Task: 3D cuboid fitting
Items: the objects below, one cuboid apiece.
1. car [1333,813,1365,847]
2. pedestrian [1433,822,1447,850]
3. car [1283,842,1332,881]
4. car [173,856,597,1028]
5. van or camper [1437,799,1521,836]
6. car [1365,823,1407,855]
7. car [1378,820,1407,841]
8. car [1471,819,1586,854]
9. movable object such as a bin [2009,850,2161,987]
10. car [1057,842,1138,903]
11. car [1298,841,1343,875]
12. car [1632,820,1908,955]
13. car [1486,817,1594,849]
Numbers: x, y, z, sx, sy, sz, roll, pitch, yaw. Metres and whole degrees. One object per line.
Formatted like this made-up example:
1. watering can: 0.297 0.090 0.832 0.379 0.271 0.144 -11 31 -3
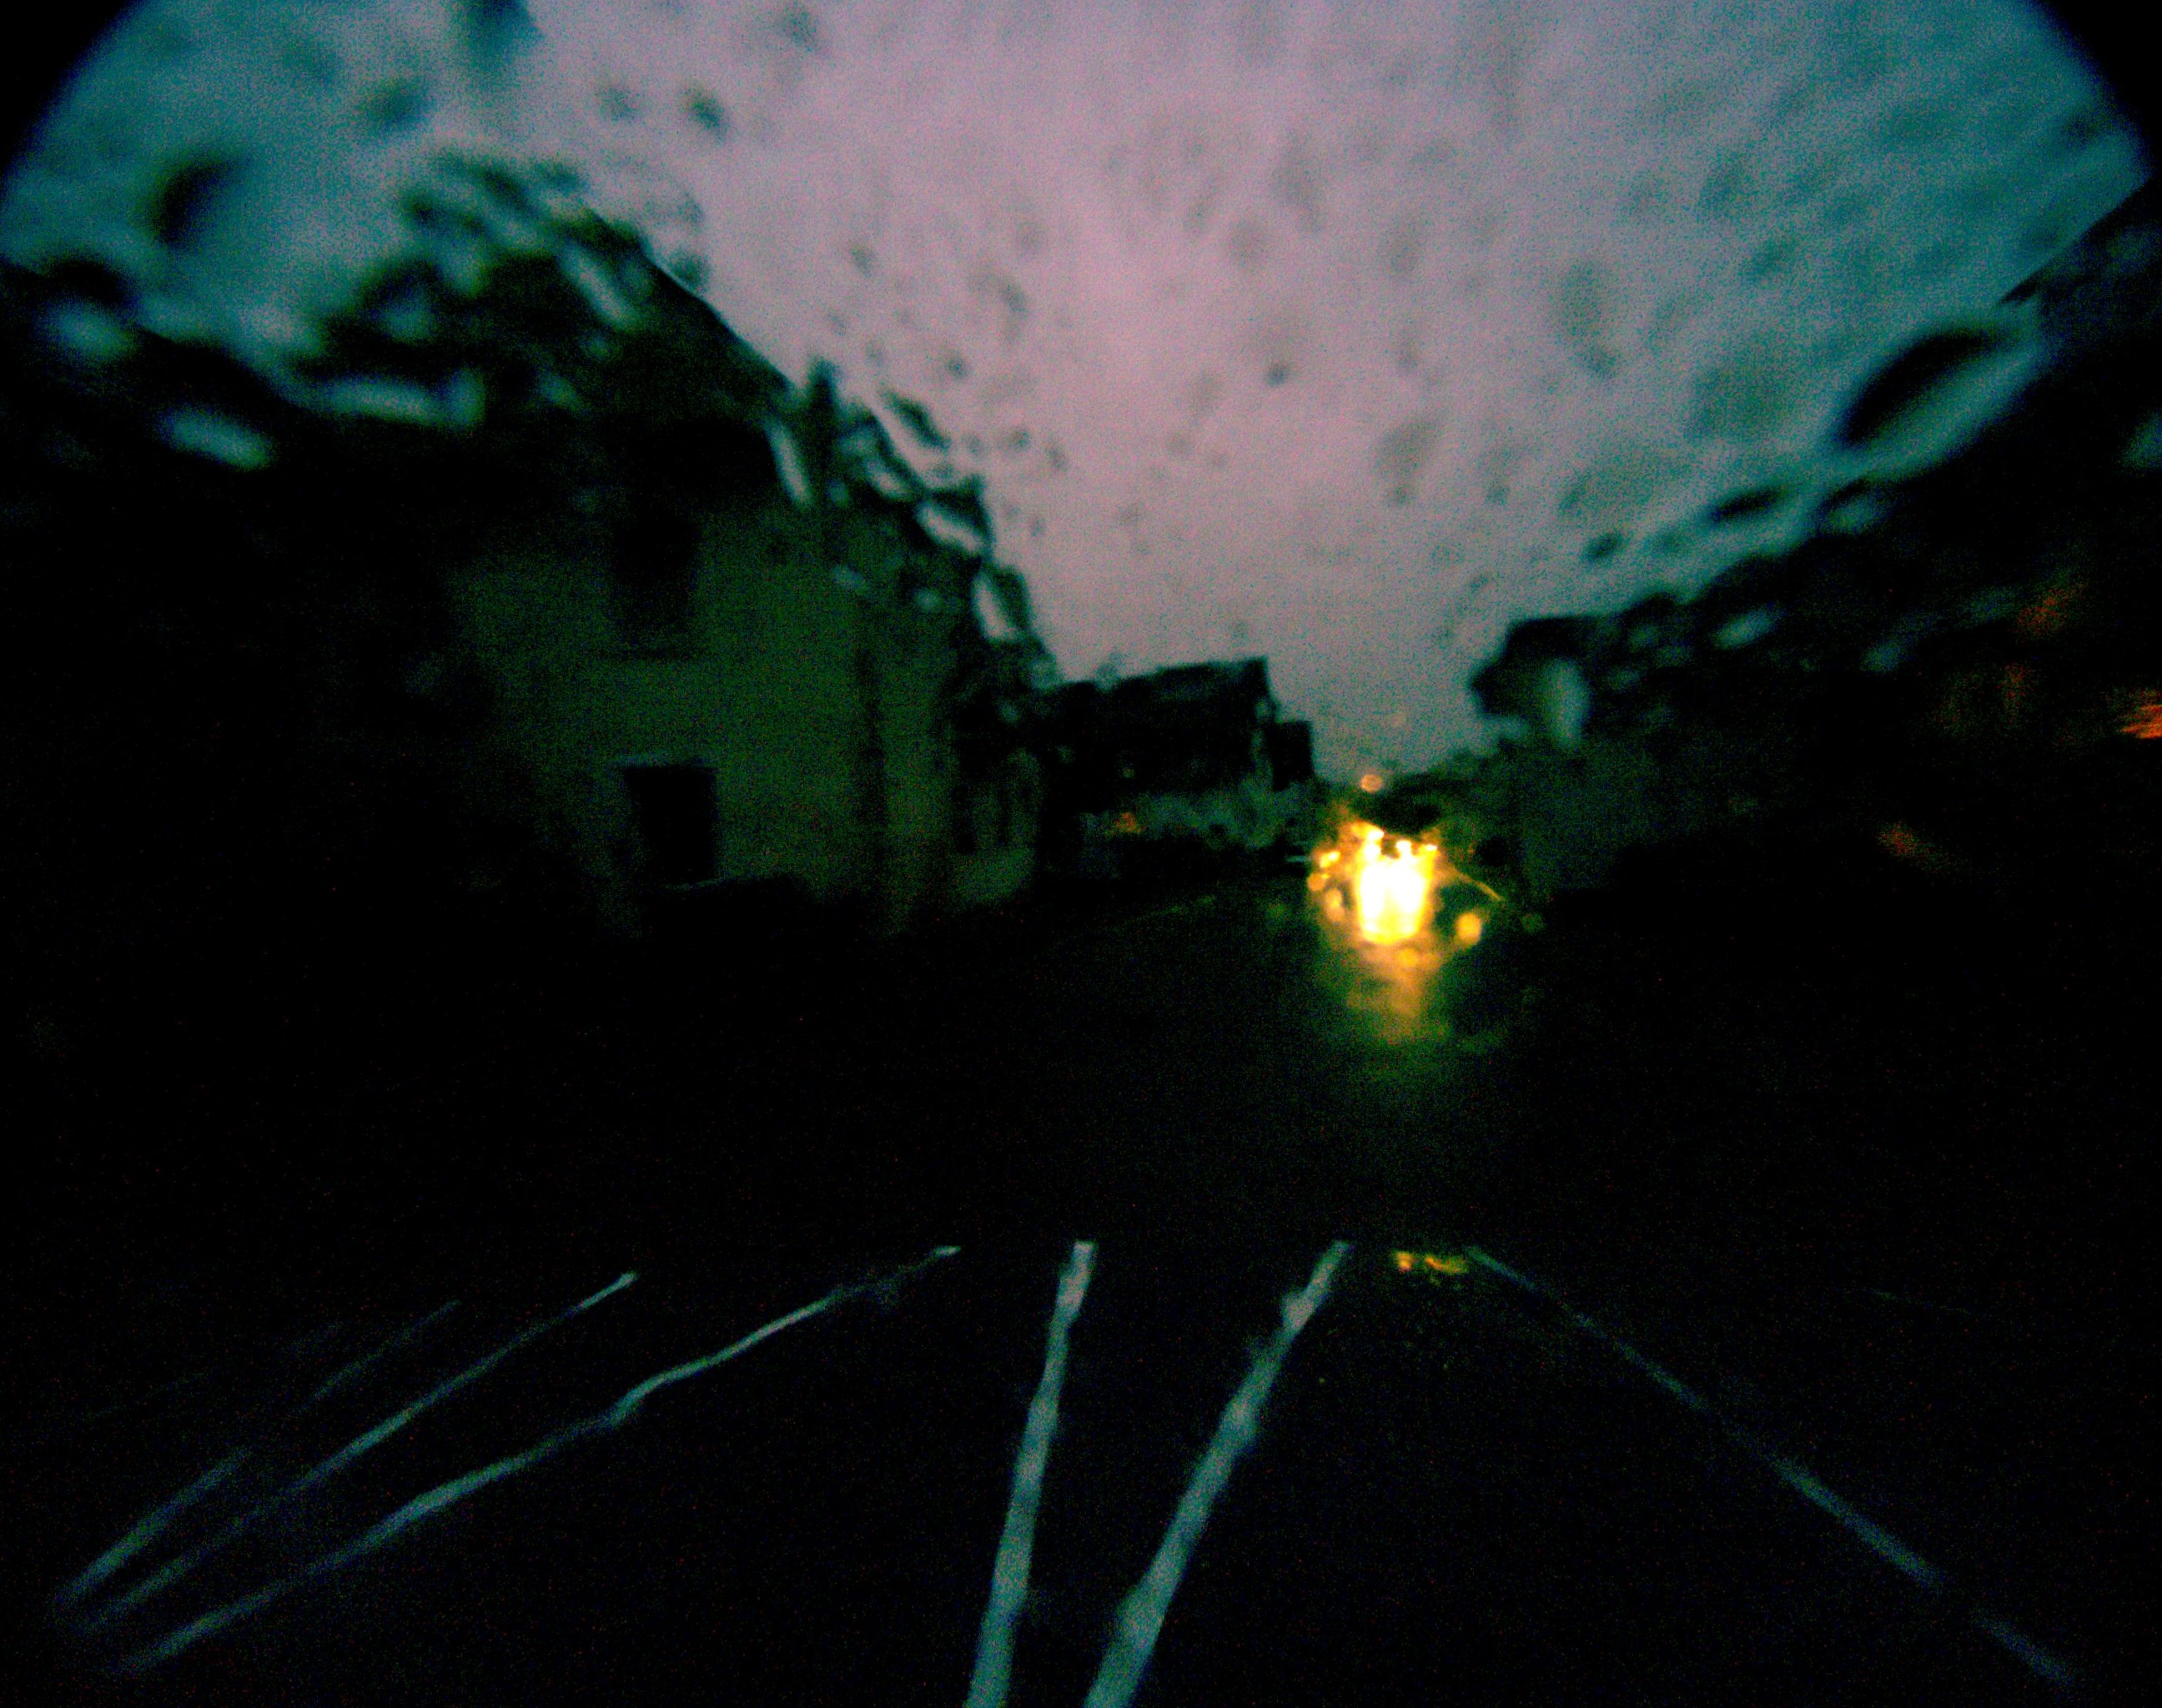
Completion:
1. car: 21.120 -1.882 59.660 2.011 2.440 5.622 -3 1 22
2. pedestrian: 26.031 -1.318 55.108 0.784 2.002 0.870 -4 2 24
3. car: 10.058 0.283 33.618 1.639 1.485 4.005 -3 1 22
4. car: -7.305 0.801 8.092 3.484 1.497 1.651 1 1 14
5. van or camper: 33.396 -3.039 63.976 6.063 2.926 2.326 0 2 22
6. car: 16.826 -0.841 41.771 1.988 1.549 4.241 -3 1 23
7. car: 25.101 -1.881 61.206 1.988 1.549 4.241 -3 1 23
8. car: 21.421 -0.840 36.629 4.597 1.462 2.003 -1 2 25
9. movable object such as a bin: 8.673 0.523 6.508 0.610 1.096 0.732 -1 1 17
10. car: 0.590 0.464 22.200 1.810 1.479 4.279 0 3 9
11. car: 12.145 0.177 38.452 1.639 1.463 4.006 -3 1 24
12. car: 8.688 0.311 9.989 1.620 1.413 3.809 -3 1 26
13. car: 23.349 -1.078 38.806 4.606 1.462 1.895 -1 2 29
